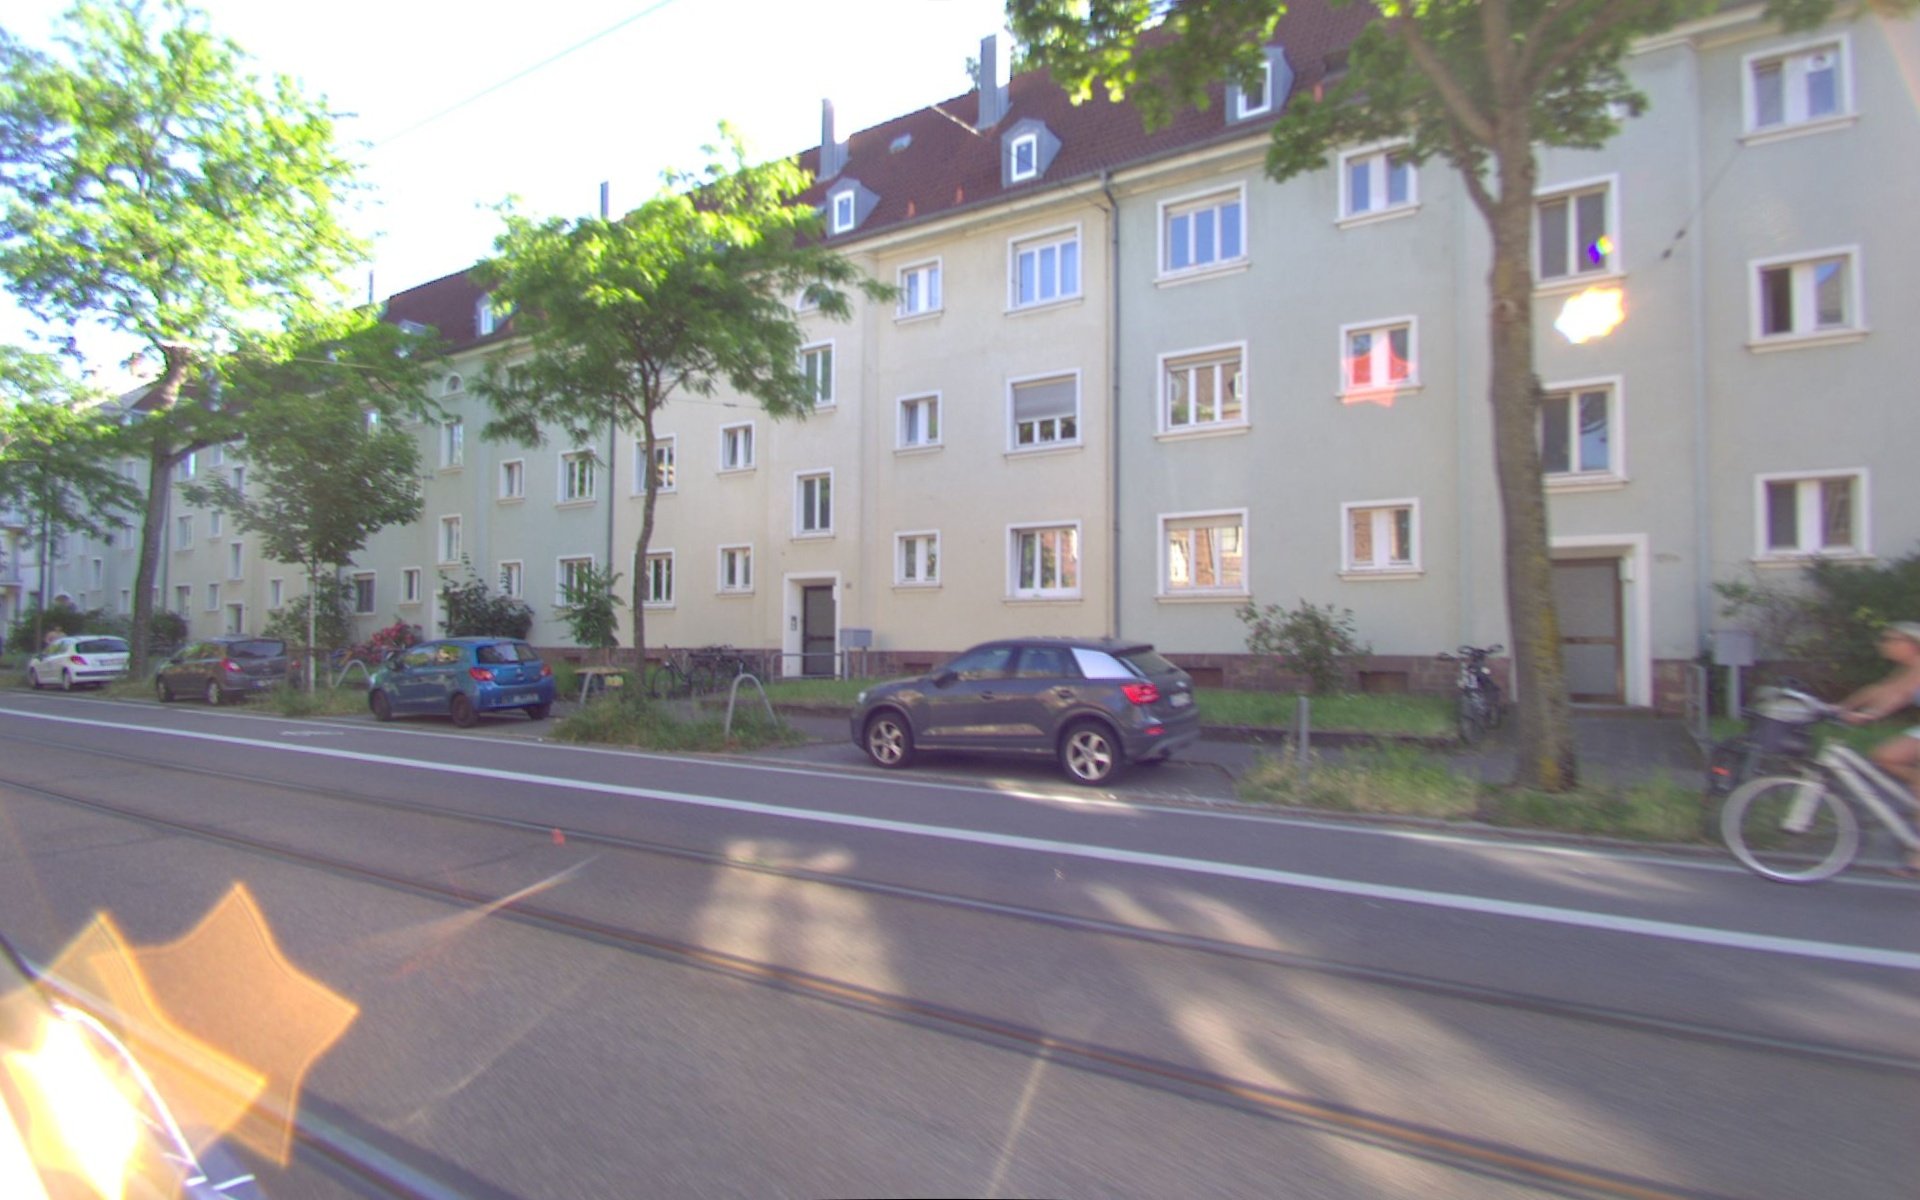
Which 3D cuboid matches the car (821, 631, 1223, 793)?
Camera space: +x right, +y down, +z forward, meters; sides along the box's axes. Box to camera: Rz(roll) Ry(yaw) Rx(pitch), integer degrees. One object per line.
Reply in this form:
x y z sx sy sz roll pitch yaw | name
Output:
0.629 1.149 11.624 4.309 1.502 1.732 -2 0 32 | car

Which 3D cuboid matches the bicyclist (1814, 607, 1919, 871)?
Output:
5.598 0.798 5.850 0.866 1.468 0.554 -2 -6 30 | bicyclist

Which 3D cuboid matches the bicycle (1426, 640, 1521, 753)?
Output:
6.522 1.163 12.791 0.559 1.207 2.262 -3 -1 39 | bicycle

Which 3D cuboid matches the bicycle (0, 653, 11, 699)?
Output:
-25.845 1.975 26.672 1.907 1.186 0.689 -2 -6 33 | bicycle

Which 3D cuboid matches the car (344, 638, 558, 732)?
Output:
-9.100 1.442 18.017 3.916 1.468 1.549 -2 0 31 | car

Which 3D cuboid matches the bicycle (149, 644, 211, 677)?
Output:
-30.632 2.355 39.782 0.520 1.186 1.893 -1 -1 30 | bicycle

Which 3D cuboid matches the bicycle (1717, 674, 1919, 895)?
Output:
5.765 1.053 5.716 2.283 1.207 0.554 -1 -6 30 | bicycle

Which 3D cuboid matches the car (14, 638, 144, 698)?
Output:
-24.552 1.843 28.170 4.066 1.496 1.689 -2 0 33 | car

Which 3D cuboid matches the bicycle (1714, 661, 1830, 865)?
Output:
6.161 1.129 7.679 0.559 1.207 2.262 -3 -1 39 | bicycle

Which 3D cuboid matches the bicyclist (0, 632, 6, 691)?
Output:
-25.860 1.632 26.704 0.862 1.619 0.704 -2 -6 33 | bicyclist

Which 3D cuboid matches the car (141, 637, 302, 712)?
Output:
-16.738 1.629 22.905 3.747 1.496 1.674 -2 0 32 | car

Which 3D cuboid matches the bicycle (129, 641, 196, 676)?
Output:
-29.319 2.129 37.248 0.520 1.186 1.893 -1 -1 30 | bicycle

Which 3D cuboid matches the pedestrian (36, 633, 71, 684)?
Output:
-32.527 2.096 36.302 0.811 1.815 0.686 -2 -3 33 | pedestrian
